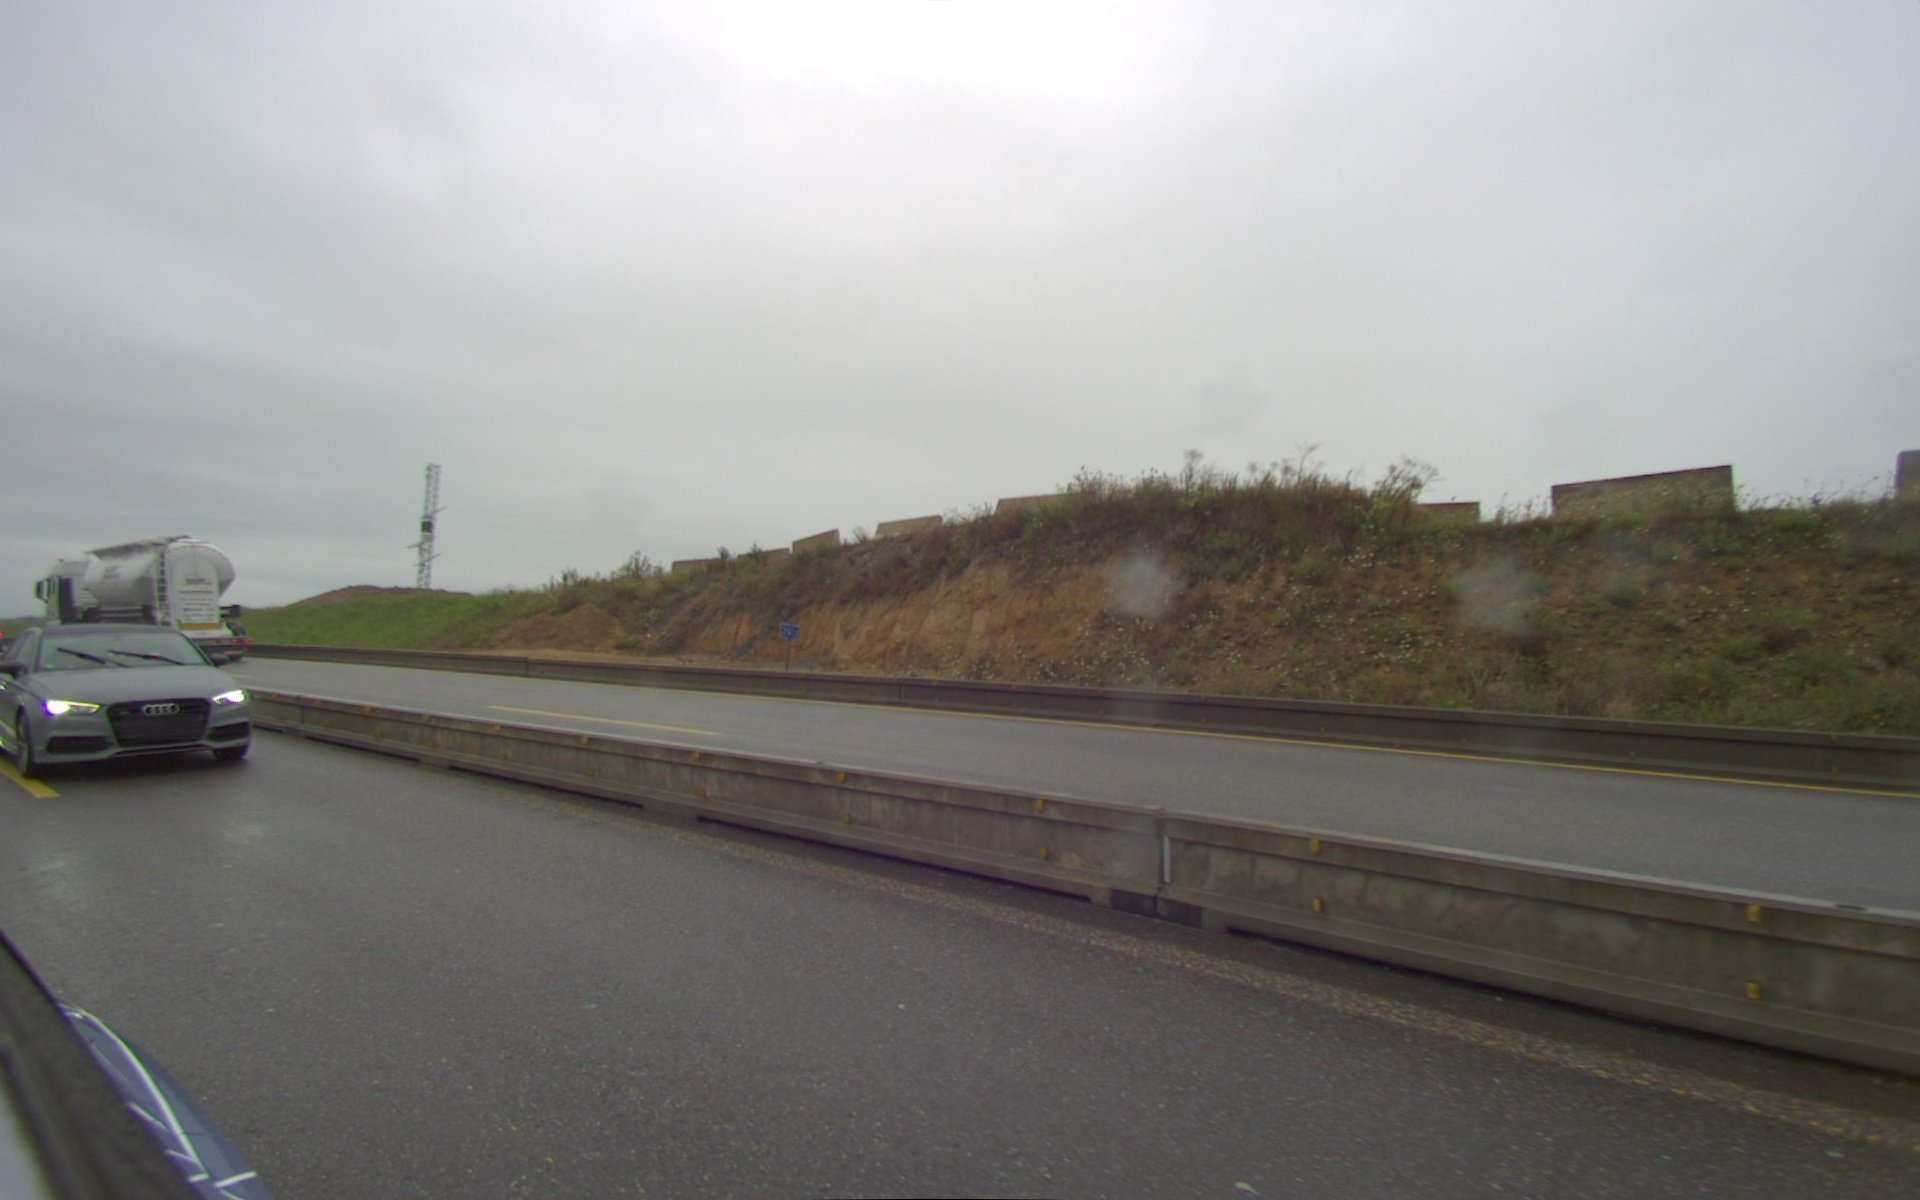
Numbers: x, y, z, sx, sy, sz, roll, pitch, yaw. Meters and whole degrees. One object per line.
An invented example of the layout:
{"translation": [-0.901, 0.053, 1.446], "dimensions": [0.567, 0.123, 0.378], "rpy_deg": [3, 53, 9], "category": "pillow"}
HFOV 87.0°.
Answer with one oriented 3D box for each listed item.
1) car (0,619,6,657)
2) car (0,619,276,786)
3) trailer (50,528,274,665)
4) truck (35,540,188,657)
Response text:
{"translation": [-38.783, 1.439, 39.383], "dimensions": [4.946, 1.450, 1.785], "rpy_deg": [-1, -2, 39], "category": "car"}
{"translation": [-8.905, 0.906, 10.583], "dimensions": [4.083, 1.393, 1.783], "rpy_deg": [0, -1, 39], "category": "car"}
{"translation": [-27.325, -0.053, 34.339], "dimensions": [11.518, 3.994, 3.225], "rpy_deg": [-1, -1, 38], "category": "trailer"}
{"translation": [-31.555, -0.004, 37.596], "dimensions": [5.873, 3.985, 3.200], "rpy_deg": [-1, -1, 38], "category": "truck"}
